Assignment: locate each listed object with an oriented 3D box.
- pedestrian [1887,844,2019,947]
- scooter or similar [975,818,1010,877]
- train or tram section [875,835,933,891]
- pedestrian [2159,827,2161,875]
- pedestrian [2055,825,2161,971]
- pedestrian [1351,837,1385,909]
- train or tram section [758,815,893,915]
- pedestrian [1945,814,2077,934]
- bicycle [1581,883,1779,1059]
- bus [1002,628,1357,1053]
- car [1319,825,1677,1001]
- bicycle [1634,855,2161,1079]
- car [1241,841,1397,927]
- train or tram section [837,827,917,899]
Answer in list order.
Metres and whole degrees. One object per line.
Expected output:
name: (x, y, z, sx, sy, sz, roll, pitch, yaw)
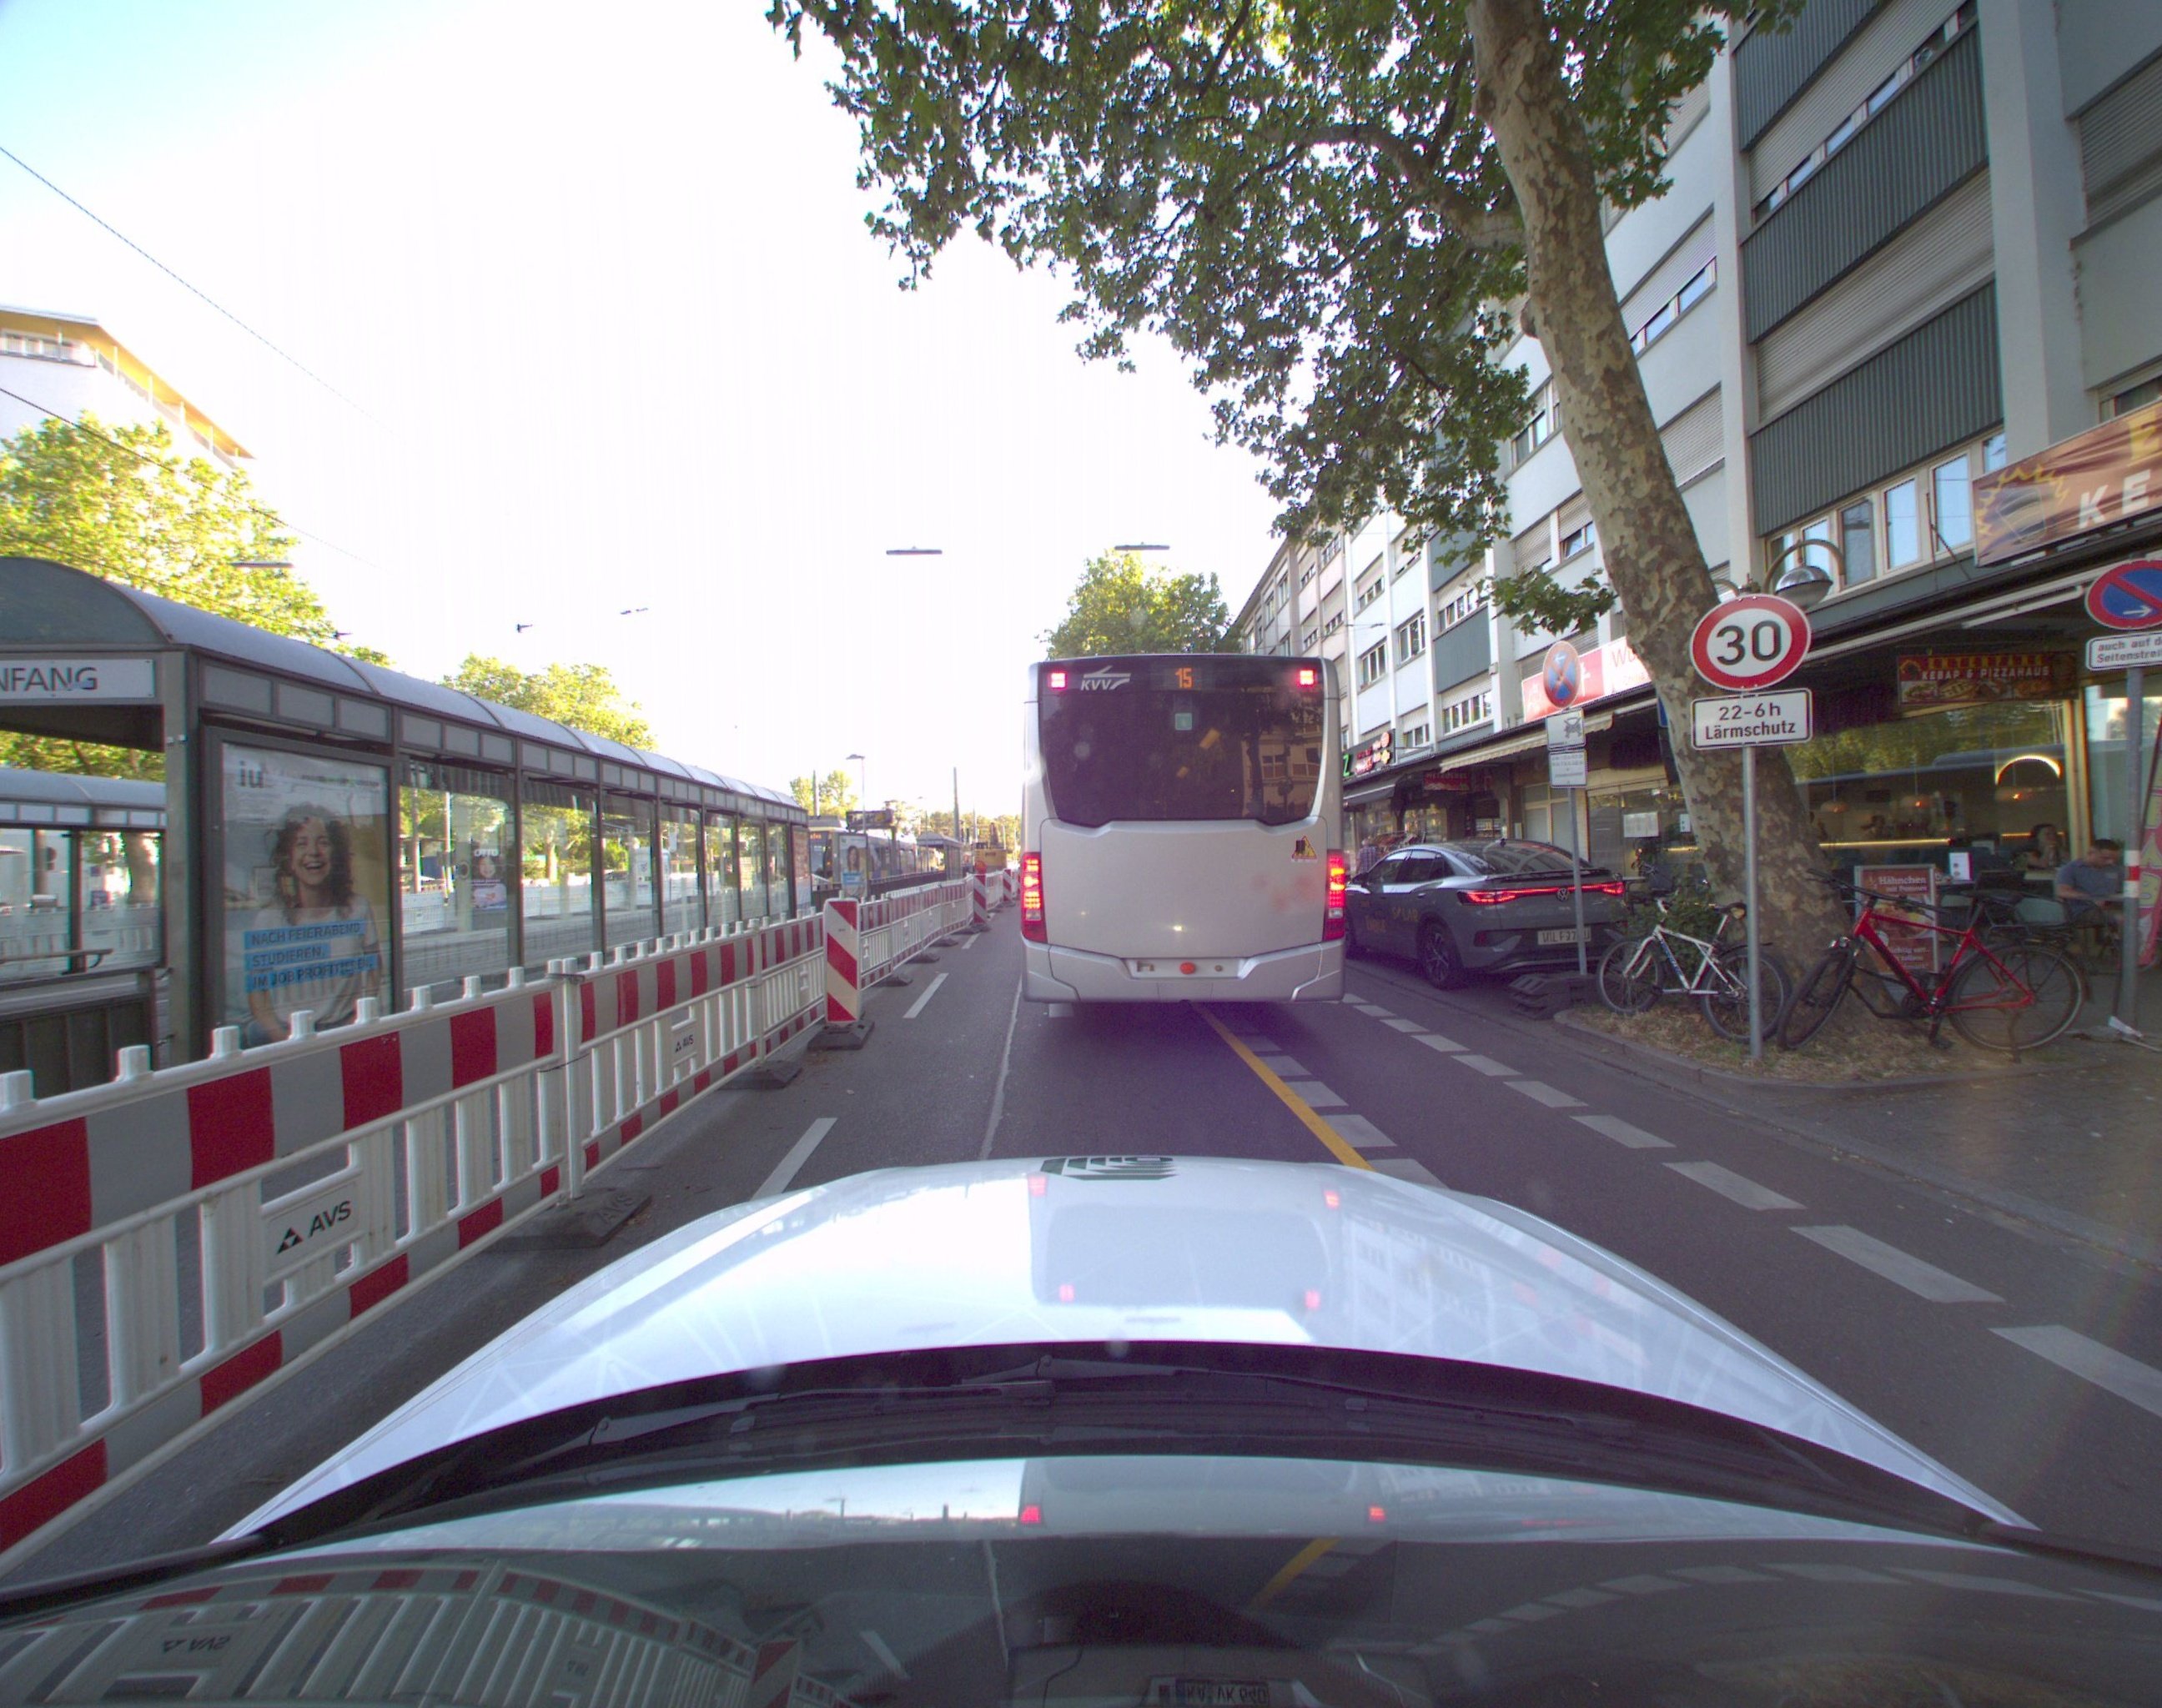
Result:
pedestrian: (9.858, 0.452, 9.218, 0.643, 1.081, 0.945, -2, -1, -39)
scooter or similar: (-7.027, -0.470, 65.098, 2.465, 4.471, 5.961, -2, 0, -5)
train or tram section: (-12.370, 0.609, 57.893, 2.683, 3.533, 11.558, 0, -1, -6)
pedestrian: (9.493, 0.380, 6.590, 0.556, 1.245, 0.691, -4, 0, 3)
pedestrian: (9.574, 0.378, 7.407, 0.555, 1.245, 0.692, -4, 0, 8)
pedestrian: (6.941, 0.457, 19.692, 0.658, 1.666, 0.603, -4, -1, 18)
train or tram section: (-10.427, 0.423, 34.796, 2.681, 3.534, 11.756, 0, -1, -3)
pedestrian: (11.035, 0.228, 9.674, 0.836, 1.333, 0.963, -2, -1, -39)
bicycle: (4.575, 0.836, 6.345, 0.550, 1.155, 1.446, -2, -1, 6)
bus: (0.848, -0.074, 10.004, 2.601, 3.126, 7.996, 0, 0, 2)
car: (4.737, 0.574, 10.155, 1.989, 1.582, 4.364, -4, 0, -3)
bicycle: (5.060, 0.722, 5.204, 2.370, 1.155, 0.557, -7, -2, 14)
car: (5.202, 0.591, 18.484, 1.989, 1.582, 4.364, -4, 0, -3)
train or tram section: (-11.345, 0.500, 46.354, 2.682, 3.558, 11.559, 0, -1, -5)
